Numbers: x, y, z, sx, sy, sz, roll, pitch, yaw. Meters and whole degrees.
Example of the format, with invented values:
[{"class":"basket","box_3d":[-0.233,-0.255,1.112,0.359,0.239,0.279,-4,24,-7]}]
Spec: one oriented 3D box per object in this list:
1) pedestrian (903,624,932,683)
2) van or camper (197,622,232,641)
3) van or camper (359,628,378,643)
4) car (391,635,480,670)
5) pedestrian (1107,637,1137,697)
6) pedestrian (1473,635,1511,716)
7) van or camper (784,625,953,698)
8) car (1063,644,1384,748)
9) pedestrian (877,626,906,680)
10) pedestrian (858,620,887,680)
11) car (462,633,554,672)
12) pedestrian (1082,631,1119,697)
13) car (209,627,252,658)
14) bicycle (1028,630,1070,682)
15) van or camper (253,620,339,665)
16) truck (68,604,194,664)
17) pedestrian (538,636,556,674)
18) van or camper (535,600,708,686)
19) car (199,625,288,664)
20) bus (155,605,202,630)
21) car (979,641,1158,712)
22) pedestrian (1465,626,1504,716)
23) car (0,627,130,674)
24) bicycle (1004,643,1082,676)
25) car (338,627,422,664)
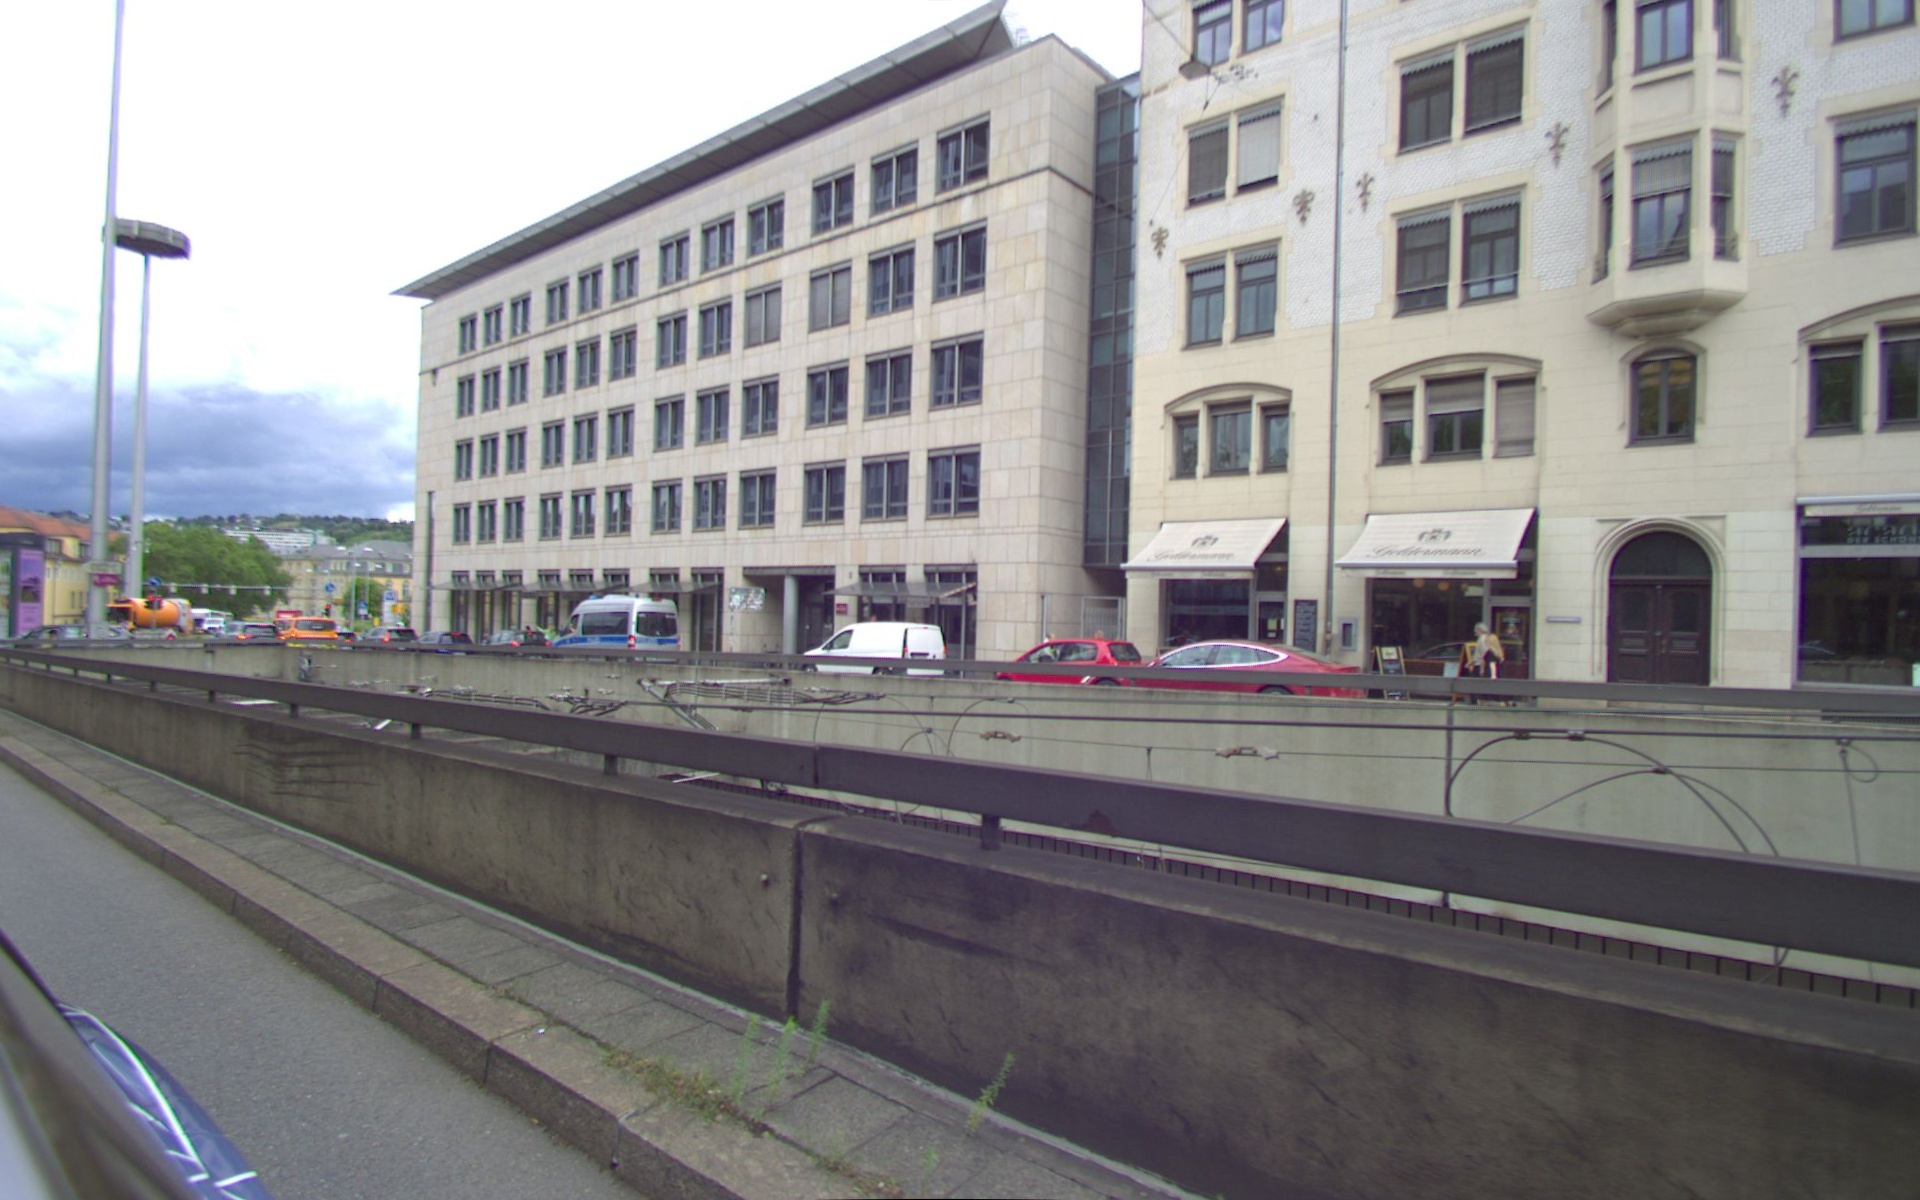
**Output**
[{"class":"pedestrian","box_3d":[-1.291,1.612,30.852,0.679,1.767,0.546,-2,-3,39]},{"class":"van or camper","box_3d":[-94.382,4.052,128.150,2.334,2.280,6.308,3,-3,-25]},{"class":"van or camper","box_3d":[-101.000,6.105,172.779,2.112,2.496,6.175,2,-3,-37]},{"class":"car","box_3d":[-23.130,2.264,44.525,4.571,1.406,1.972,-1,-2,42]},{"class":"pedestrian","box_3d":[4.106,1.691,25.583,0.541,1.486,0.543,-2,-2,41]},{"class":"pedestrian","box_3d":[10.333,1.456,19.648,0.582,1.549,0.475,-1,-3,35]},{"class":"van or camper","box_3d":[-2.479,1.559,26.801,4.482,1.765,1.849,-1,-2,40]},{"class":"car","box_3d":[4.337,1.502,17.077,4.878,1.476,1.975,-1,-3,38]},{"class":"pedestrian","box_3d":[-2.039,1.569,30.065,0.679,1.589,0.546,-2,-3,39]},{"class":"pedestrian","box_3d":[-2.771,1.573,31.943,0.679,1.889,0.610,-2,-3,39]},{"class":"car","box_3d":[-18.085,2.082,40.433,4.028,1.460,1.750,-1,-4,41]},{"class":"pedestrian","box_3d":[3.469,1.574,24.989,0.712,1.593,0.576,-2,-2,41]},{"class":"car","box_3d":[-40.261,2.315,55.838,1.712,1.611,4.327,2,-3,-38]},{"class":"bicycle","box_3d":[2.219,1.380,25.311,0.843,1.270,0.626,-1,-2,37]},{"class":"van or camper","box_3d":[-30.454,1.912,46.341,5.080,1.936,1.893,-1,-4,41]},{"class":"truck","box_3d":[-64.518,2.530,79.121,2.687,3.641,9.192,7,2,-6]},{"class":"pedestrian","box_3d":[-18.184,2.425,44.546,0.627,1.636,0.494,-1,-3,40]},{"class":"van or camper","box_3d":[-11.942,1.488,35.524,6.242,2.747,2.971,-1,-3,41]},{"class":"car","box_3d":[-29.454,1.793,41.559,4.538,1.538,1.899,-1,-2,40]},{"class":"bus","box_3d":[-105.869,2.374,137.309,3.377,3.228,13.102,-1,0,-30]},{"class":"car","box_3d":[2.372,1.631,22.419,3.579,1.416,1.769,-1,-3,39]},{"class":"pedestrian","box_3d":[10.511,1.412,20.284,0.583,1.770,0.474,-2,-4,42]},{"class":"car","box_3d":[-30.518,1.651,33.608,4.494,1.469,1.884,2,-2,-41]},{"class":"bicycle","box_3d":[2.070,1.476,25.419,1.955,0.768,0.626,-1,-2,38]},{"class":"car","box_3d":[-27.790,2.185,48.452,4.680,1.658,1.973,-1,-4,41]}]
